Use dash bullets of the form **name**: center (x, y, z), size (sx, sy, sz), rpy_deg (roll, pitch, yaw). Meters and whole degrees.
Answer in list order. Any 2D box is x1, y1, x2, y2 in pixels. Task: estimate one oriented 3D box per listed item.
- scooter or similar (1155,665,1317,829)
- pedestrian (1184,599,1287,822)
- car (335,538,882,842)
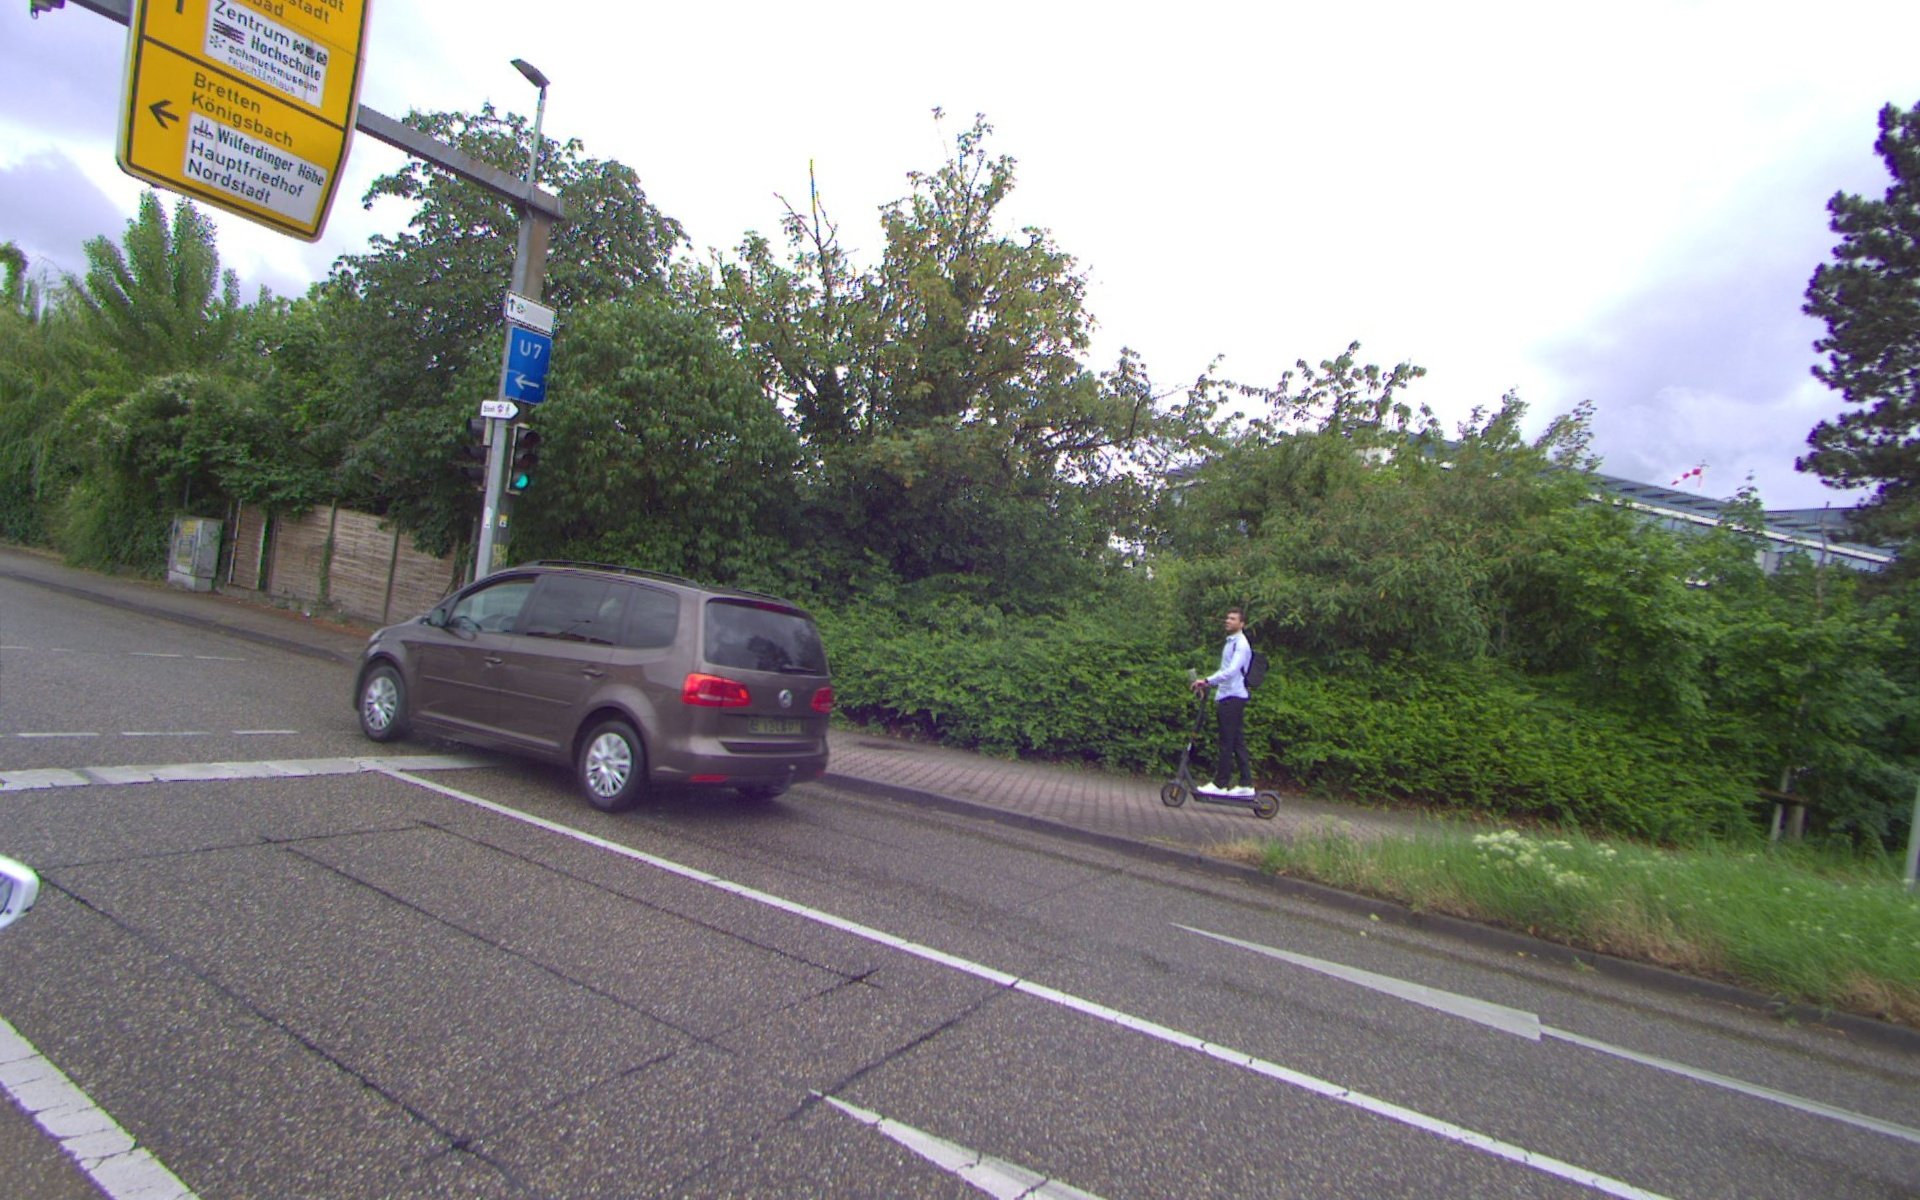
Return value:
- **scooter or similar**: center (2.695, 1.417, 9.917), size (1.358, 1.378, 0.463), rpy_deg (7, 0, 12)
- **pedestrian**: center (2.666, 1.051, 9.823), size (0.704, 2.026, 0.658), rpy_deg (7, 0, 12)
- **car**: center (-2.845, 0.578, 7.961), size (3.999, 1.593, 1.740), rpy_deg (7, -2, 30)
